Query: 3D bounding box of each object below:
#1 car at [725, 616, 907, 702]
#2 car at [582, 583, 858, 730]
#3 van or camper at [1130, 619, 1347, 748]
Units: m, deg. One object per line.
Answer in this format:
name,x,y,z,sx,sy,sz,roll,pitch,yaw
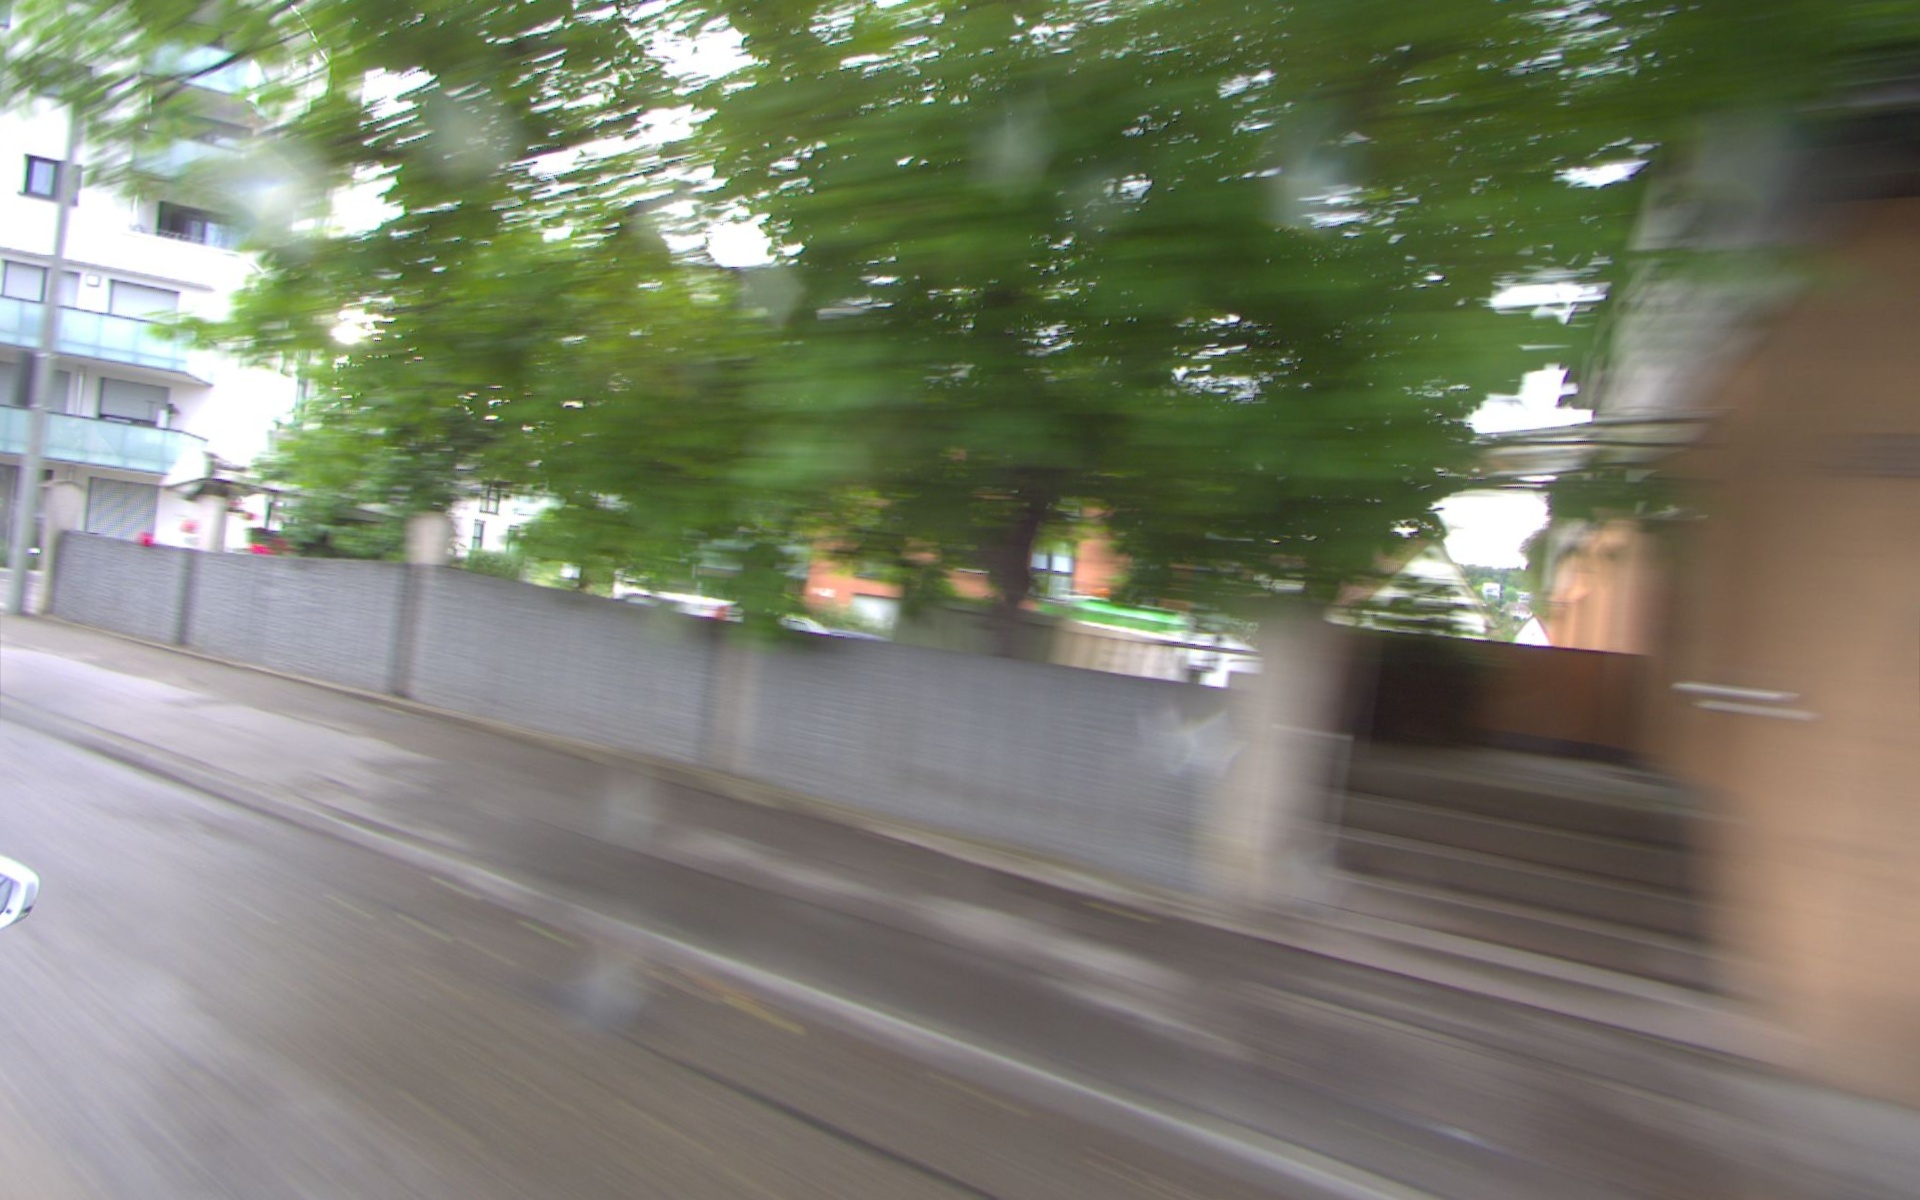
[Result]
car,-3.632,1.480,25.343,4.073,1.561,1.844,8,-1,-22
car,-3.777,0.984,16.587,1.966,1.892,4.133,8,-1,29
van or camper,8.470,2.530,30.536,5.874,3.030,2.314,9,-1,-23
